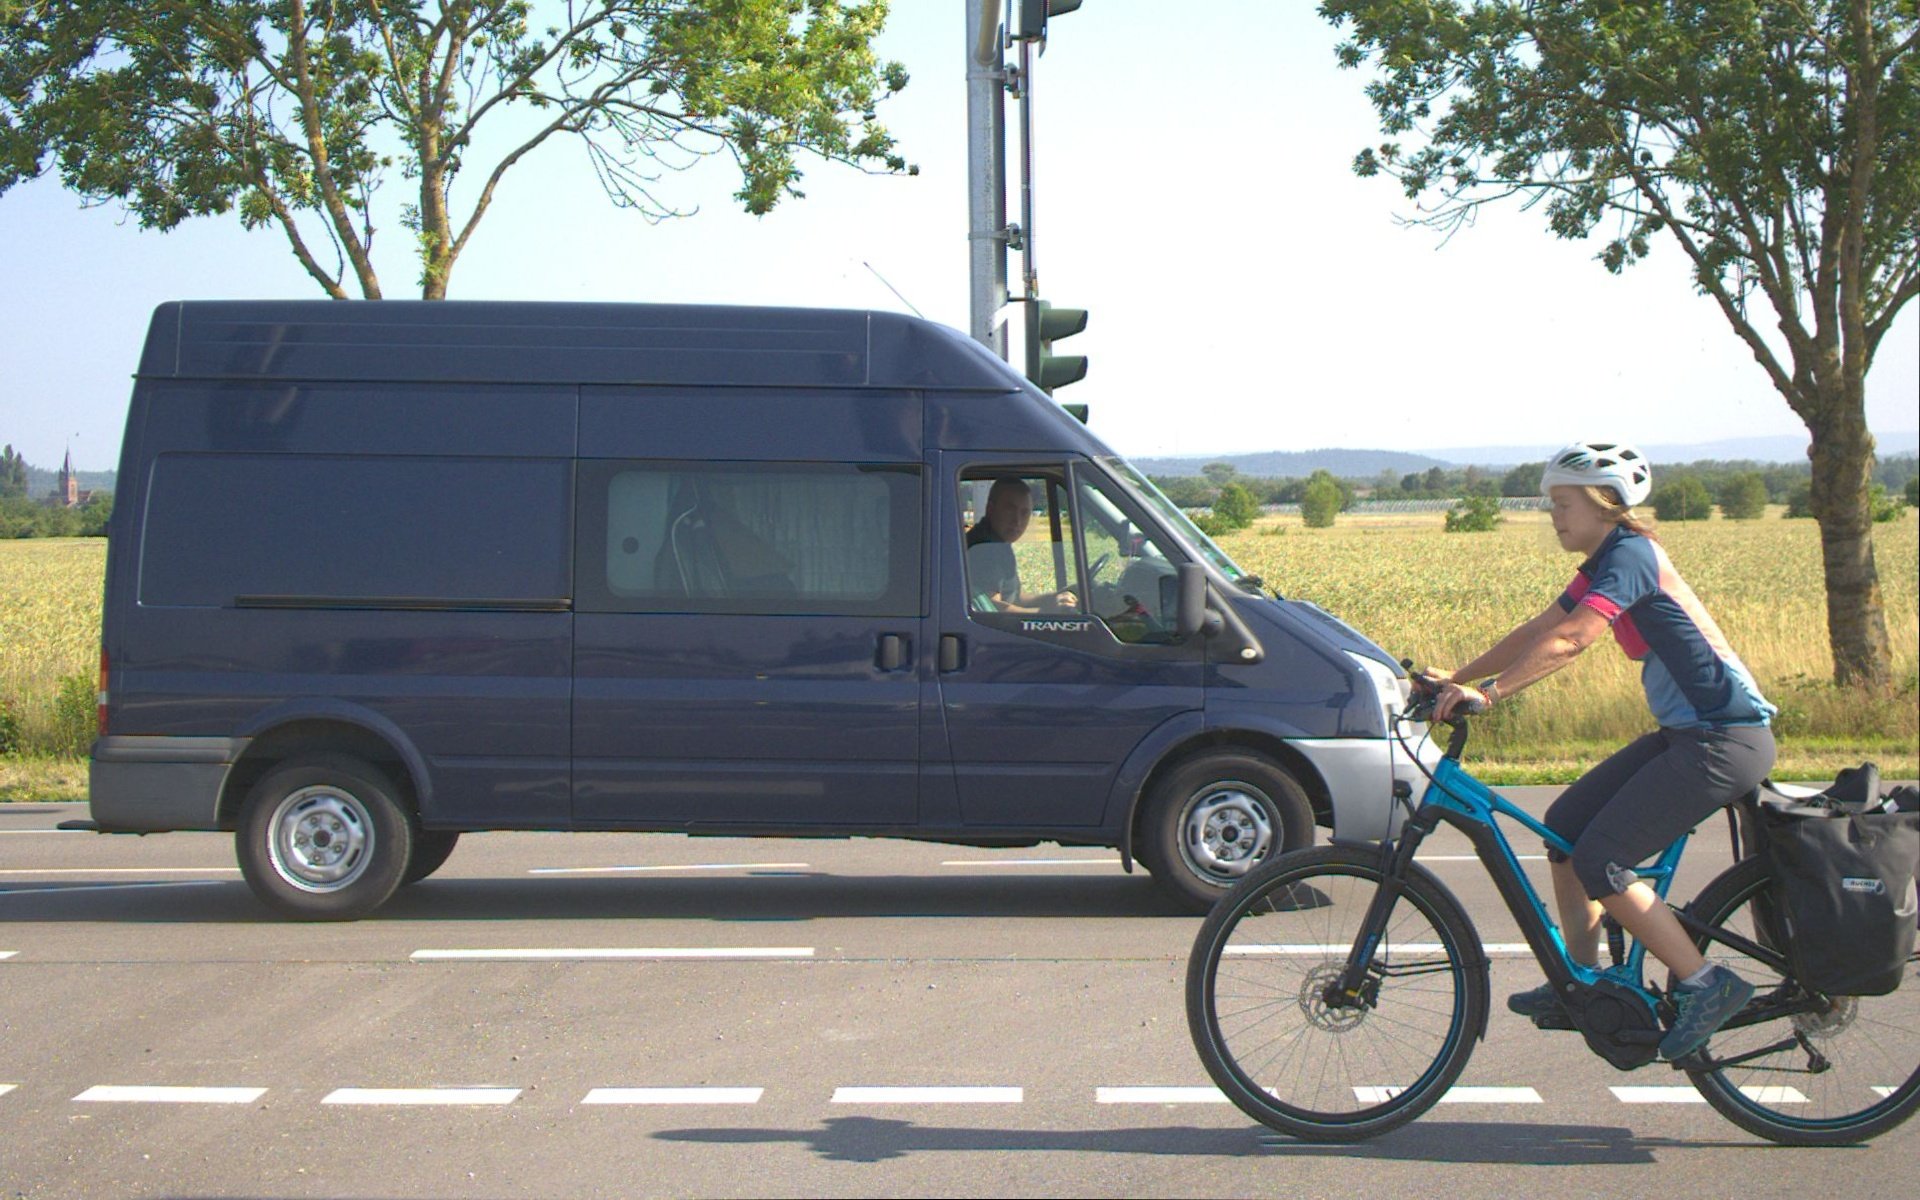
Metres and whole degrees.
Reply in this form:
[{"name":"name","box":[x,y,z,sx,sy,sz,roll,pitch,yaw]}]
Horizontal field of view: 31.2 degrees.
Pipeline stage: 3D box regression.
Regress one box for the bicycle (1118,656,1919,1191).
[{"name":"bicycle","box":[1.510,0.737,8.282,2.155,1.182,0.890,0,0,-5]}]

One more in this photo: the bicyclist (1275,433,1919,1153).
[{"name":"bicyclist","box":[1.493,0.409,8.233,1.278,1.596,1.166,0,2,-5]}]

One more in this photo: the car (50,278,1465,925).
[{"name":"car","box":[-0.834,-0.011,14.974,5.731,2.613,2.034,0,1,-1]}]

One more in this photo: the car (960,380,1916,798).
[{"name":"car","box":[3.083,-0.051,23.031,5.889,2.568,2.393,1,0,-7]}]
